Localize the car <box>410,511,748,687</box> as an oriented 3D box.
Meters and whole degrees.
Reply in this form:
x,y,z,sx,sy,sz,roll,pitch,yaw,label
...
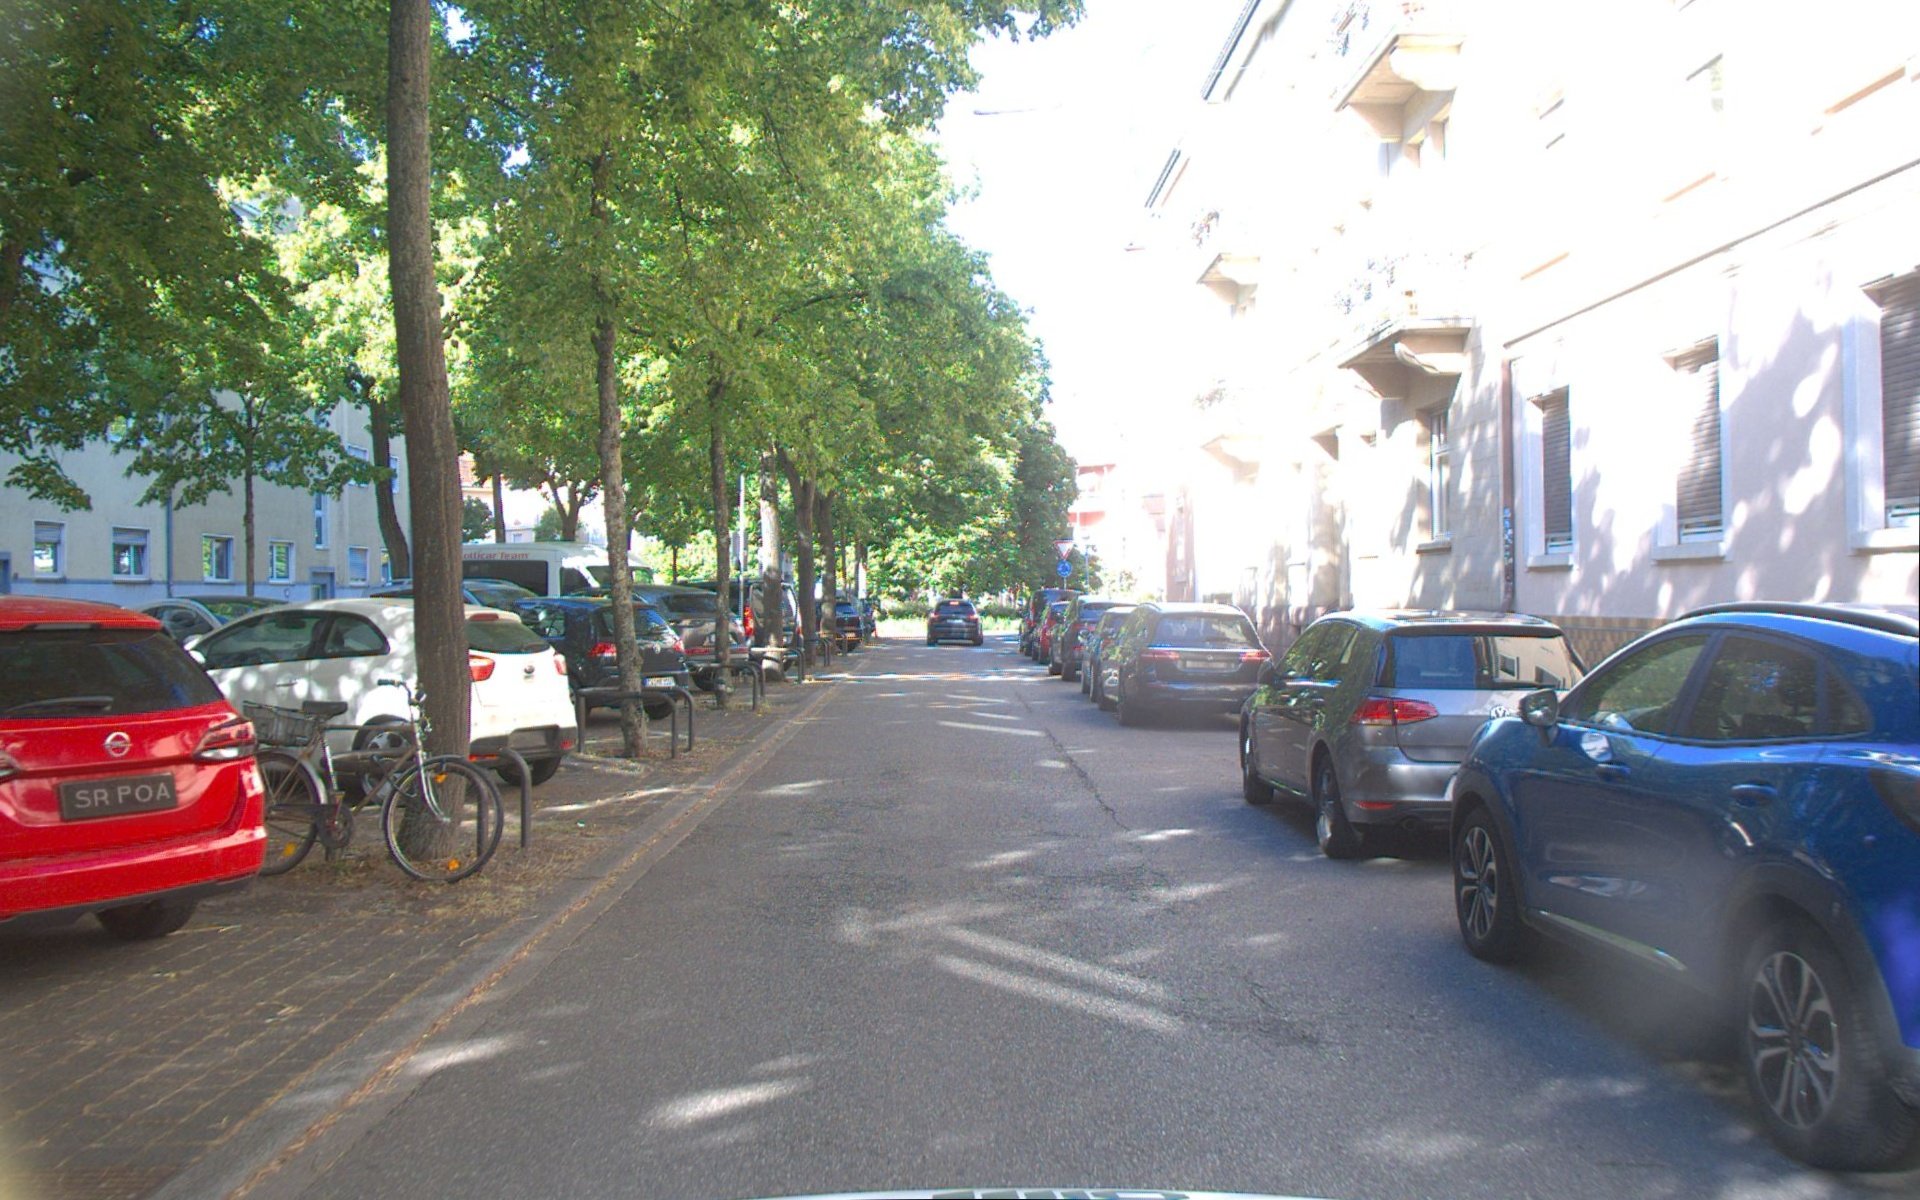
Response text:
x,y,z,sx,sy,sz,roll,pitch,yaw,label
-7.077,0.044,30.503,5.954,2.668,2.450,-5,-2,31,car

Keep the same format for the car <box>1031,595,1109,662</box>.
x,y,z,sx,sy,sz,roll,pitch,yaw,label
2.740,0.683,41.993,1.612,1.564,3.999,2,0,-1,car

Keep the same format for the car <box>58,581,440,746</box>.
x,y,z,sx,sy,sz,roll,pitch,yaw,label
-7.676,0.642,17.813,3.830,1.583,1.843,-1,0,30,car

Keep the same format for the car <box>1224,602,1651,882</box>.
x,y,z,sx,sy,sz,roll,pitch,yaw,label
2.937,0.780,11.059,1.657,1.493,4.004,1,0,-1,car

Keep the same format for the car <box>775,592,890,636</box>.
x,y,z,sx,sy,sz,roll,pitch,yaw,label
-4.601,0.508,59.276,4.064,1.507,1.767,-1,-1,40,car

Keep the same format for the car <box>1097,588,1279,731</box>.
x,y,z,sx,sy,sz,roll,pitch,yaw,label
2.818,0.675,21.300,1.768,1.591,4.321,-2,0,1,car

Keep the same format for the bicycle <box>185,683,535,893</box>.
x,y,z,sx,sy,sz,roll,pitch,yaw,label
-3.115,0.950,8.585,1.772,1.011,0.426,-1,0,15,bicycle

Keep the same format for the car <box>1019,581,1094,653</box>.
x,y,z,sx,sy,sz,roll,pitch,yaw,label
2.726,0.459,47.340,1.765,1.903,4.272,2,0,-1,car

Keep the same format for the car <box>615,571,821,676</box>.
x,y,z,sx,sy,sz,roll,pitch,yaw,label
-4.818,0.440,32.830,3.772,1.921,1.838,0,2,34,car

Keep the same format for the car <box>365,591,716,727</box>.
x,y,z,sx,sy,sz,roll,pitch,yaw,label
-5.087,0.663,19.971,4.018,1.507,1.729,0,0,29,car

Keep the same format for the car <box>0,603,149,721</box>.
x,y,z,sx,sy,sz,roll,pitch,yaw,label
-15.428,0.973,27.532,1.706,1.753,4.556,-2,1,-2,car

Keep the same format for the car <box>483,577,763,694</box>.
x,y,z,sx,sy,sz,roll,pitch,yaw,label
-5.293,0.505,25.851,4.180,1.670,1.653,1,0,28,car

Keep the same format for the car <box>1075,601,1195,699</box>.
x,y,z,sx,sy,sz,roll,pitch,yaw,label
2.759,0.756,26.685,1.557,1.440,3.632,1,0,0,car

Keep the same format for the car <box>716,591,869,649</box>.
x,y,z,sx,sy,sz,roll,pitch,yaw,label
-4.474,0.543,44.660,4.008,1.492,1.865,1,-1,-4,car

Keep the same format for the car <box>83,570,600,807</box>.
x,y,z,sx,sy,sz,roll,pitch,yaw,label
-4.837,0.597,12.957,3.609,1.624,1.772,1,0,25,car

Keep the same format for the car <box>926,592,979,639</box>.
x,y,z,sx,sy,sz,roll,pitch,yaw,label
-0.213,0.481,54.675,1.679,1.509,4.145,0,0,1,car

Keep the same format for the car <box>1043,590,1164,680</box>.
x,y,z,sx,sy,sz,roll,pitch,yaw,label
2.832,0.649,33.497,1.827,1.672,4.489,1,0,-3,car

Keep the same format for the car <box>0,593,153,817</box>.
x,y,z,sx,sy,sz,roll,pitch,yaw,label
-7.833,0.692,12.040,3.916,1.461,1.792,0,0,33,car

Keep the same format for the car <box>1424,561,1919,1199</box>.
x,y,z,sx,sy,sz,roll,pitch,yaw,label
3.154,0.701,5.885,1.731,1.579,4.182,1,0,-1,car

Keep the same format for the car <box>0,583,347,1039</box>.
x,y,z,sx,sy,sz,roll,pitch,yaw,label
-4.905,0.674,7.049,4.526,1.512,1.758,1,0,28,car

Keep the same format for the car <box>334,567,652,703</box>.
x,y,z,sx,sy,sz,roll,pitch,yaw,label
-6.759,0.493,23.881,4.294,1.808,1.897,-1,-1,27,car
